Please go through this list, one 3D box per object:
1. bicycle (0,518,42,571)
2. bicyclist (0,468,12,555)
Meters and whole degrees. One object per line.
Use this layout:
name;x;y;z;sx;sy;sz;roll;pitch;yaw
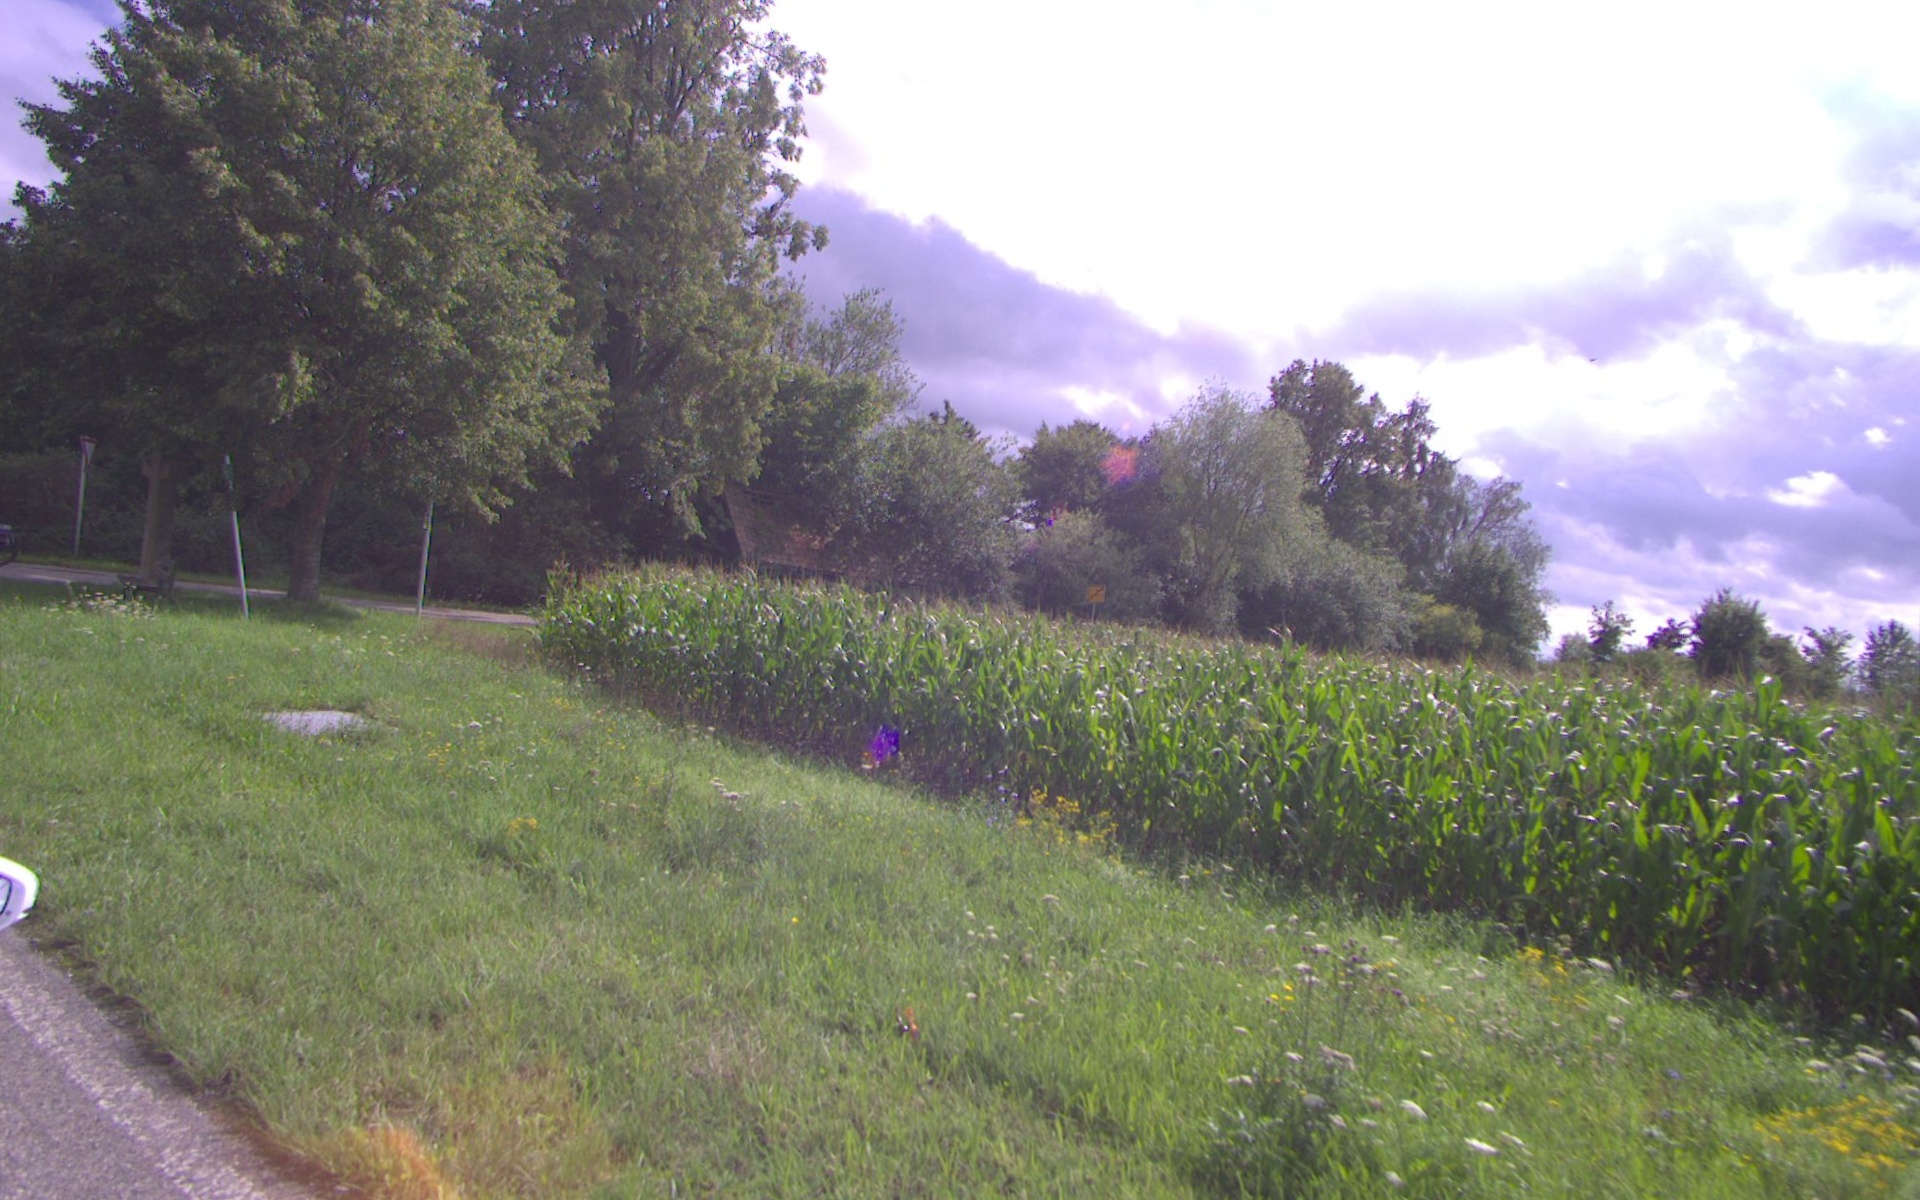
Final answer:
bicycle;-17.970;-1.107;17.890;1.034;0.874;2.124;8;-1;18
bicyclist;-17.895;-1.667;17.867;1.034;1.604;1.021;8;-1;18
